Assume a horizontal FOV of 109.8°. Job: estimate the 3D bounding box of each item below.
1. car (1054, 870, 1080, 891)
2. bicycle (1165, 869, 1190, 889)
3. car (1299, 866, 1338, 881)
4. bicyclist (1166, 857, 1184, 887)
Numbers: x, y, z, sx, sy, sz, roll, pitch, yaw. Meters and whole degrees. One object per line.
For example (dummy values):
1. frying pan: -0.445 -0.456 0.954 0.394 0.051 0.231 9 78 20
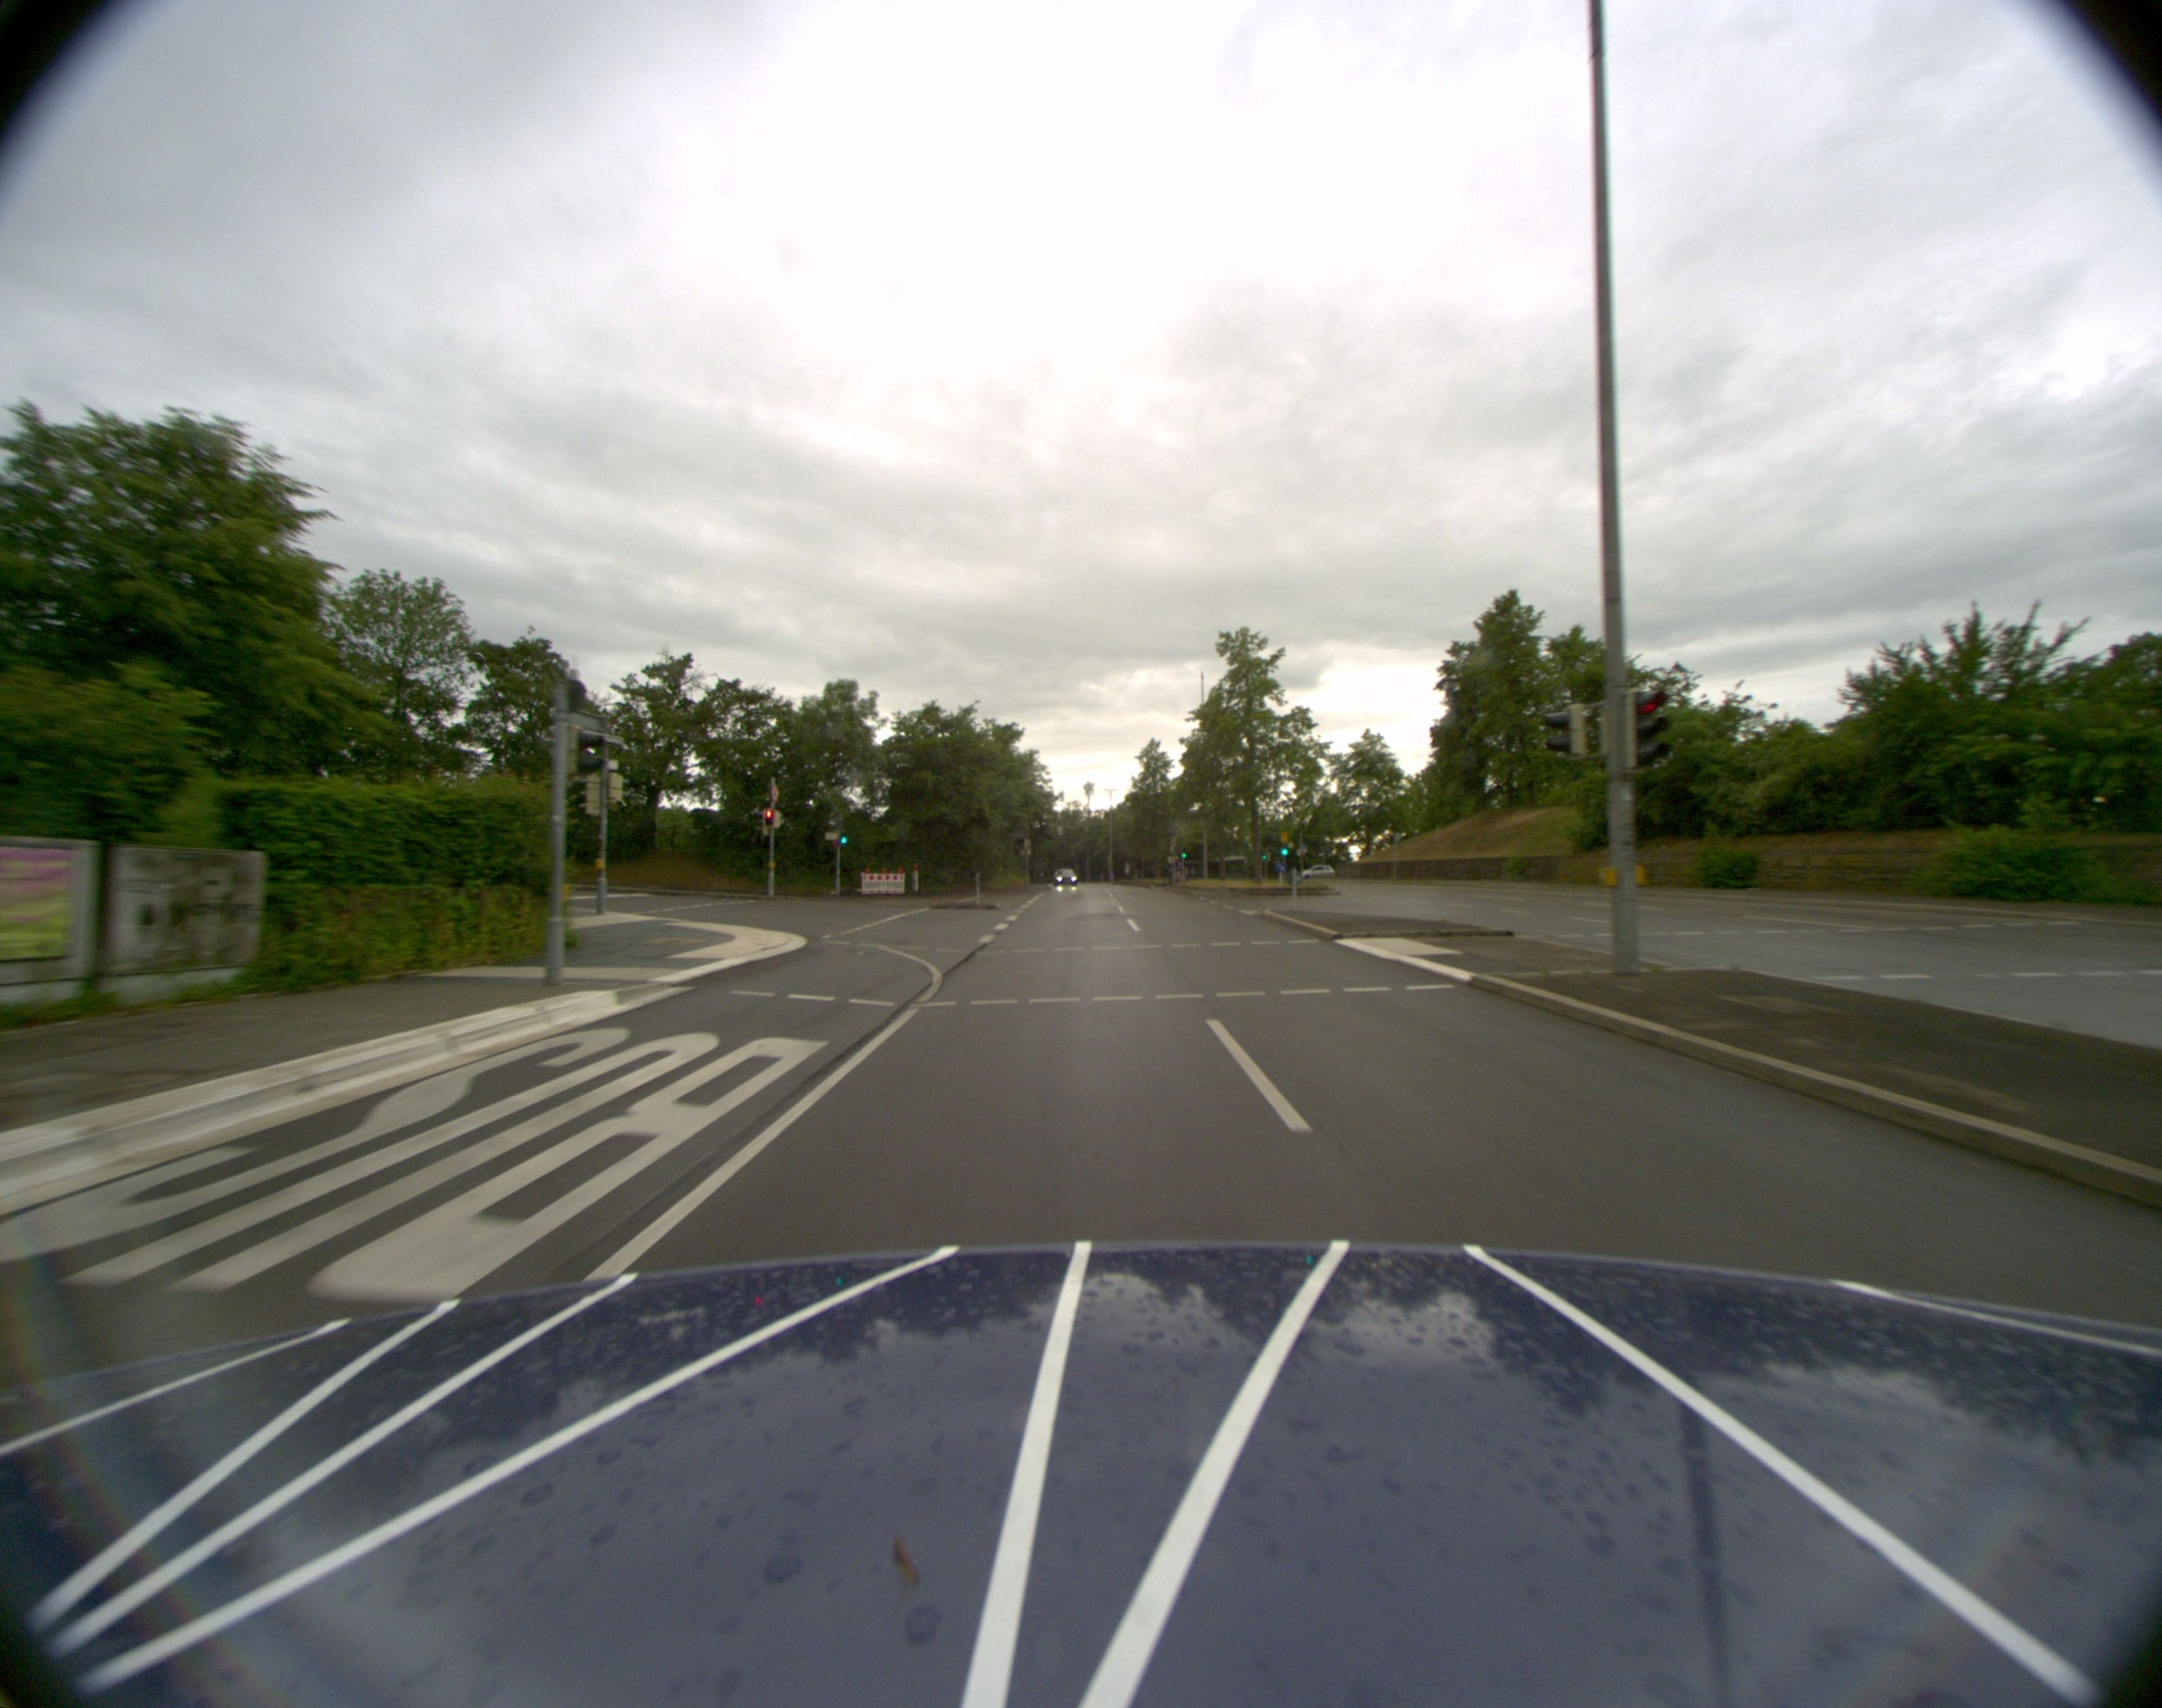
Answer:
1. car: -1.191 2.214 63.099 1.999 1.575 4.002 2 -4 -2
2. bicycle: 5.785 1.482 45.452 0.552 1.136 2.144 -1 -1 33
3. car: 24.593 1.994 78.756 3.692 1.469 1.763 -1 -1 10
4. bicyclist: 5.581 1.064 45.083 0.723 1.742 0.803 2 2 33
